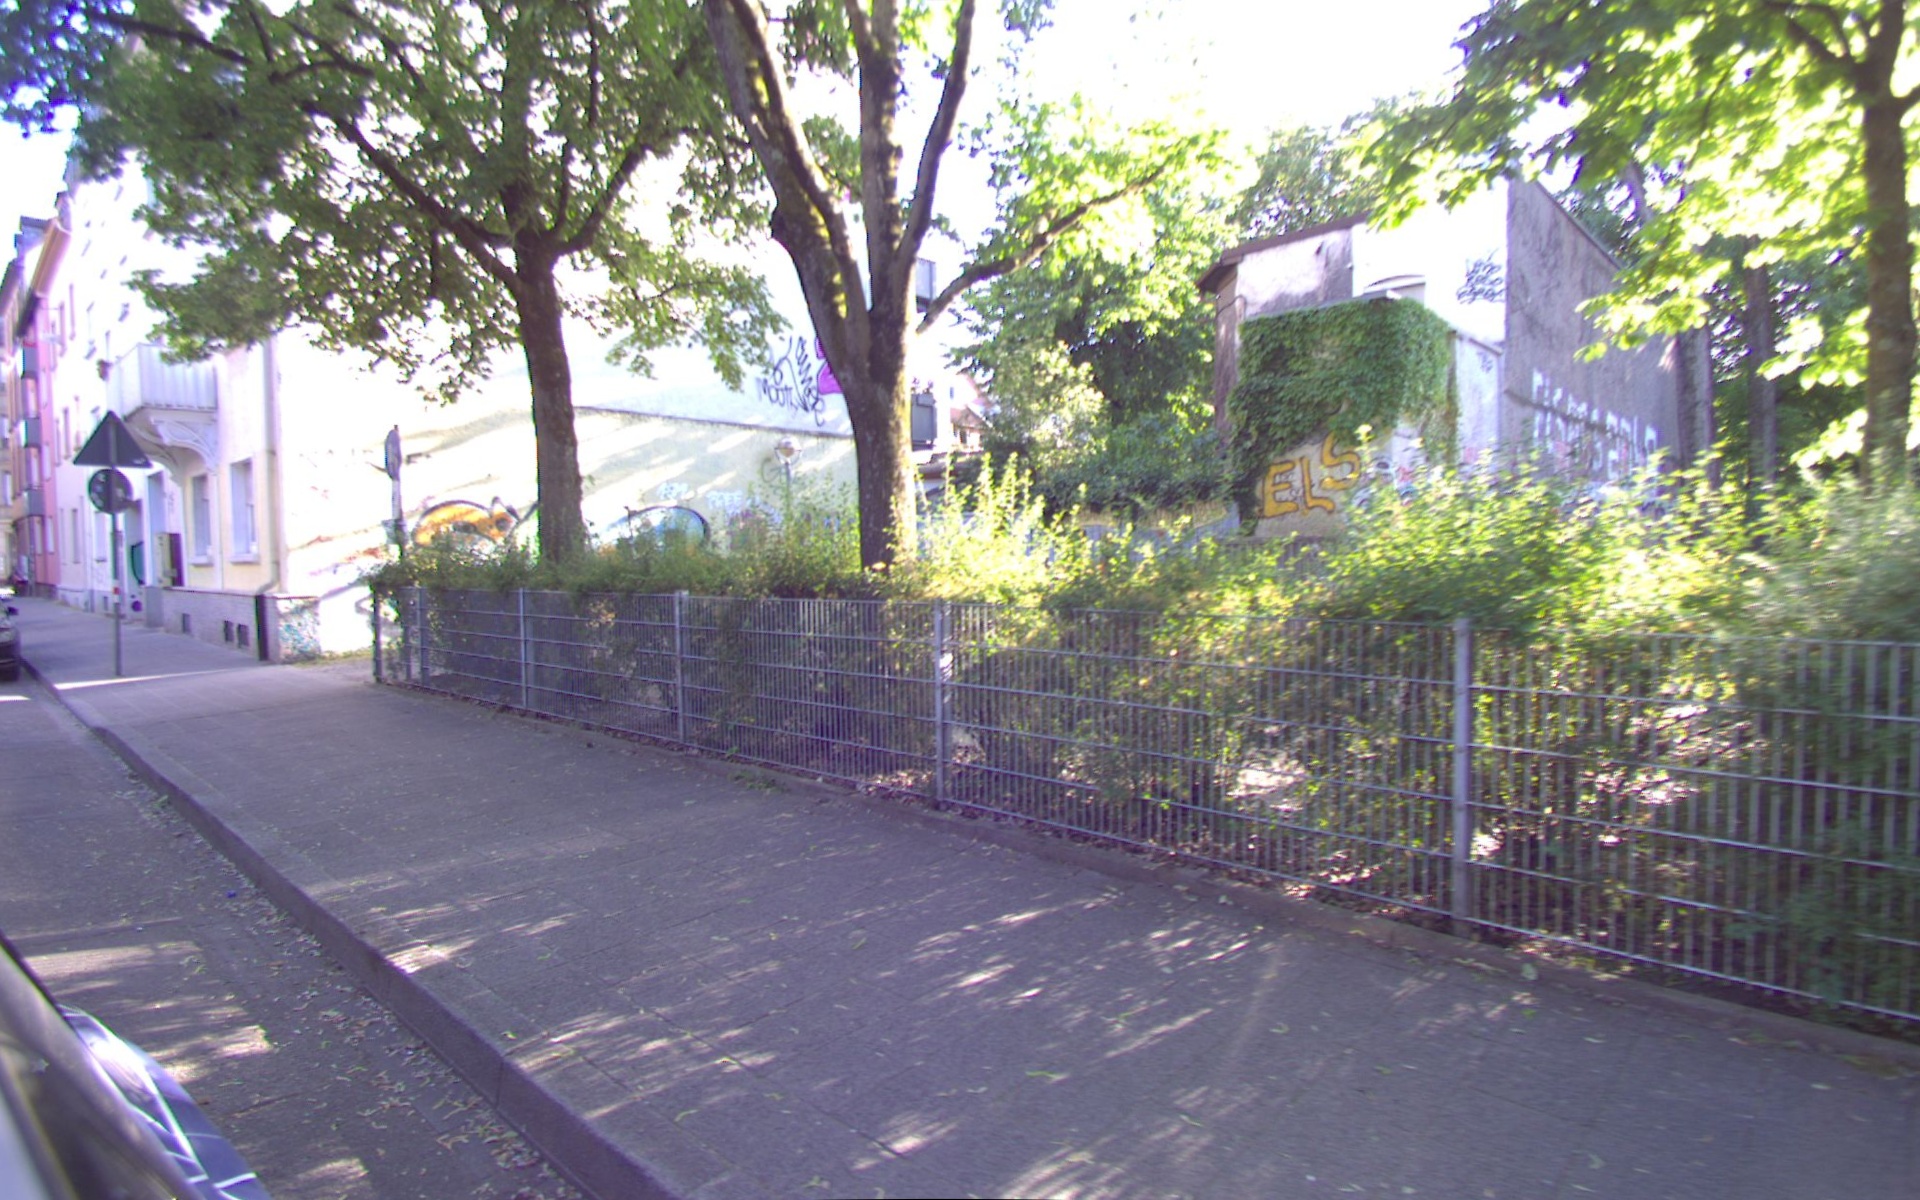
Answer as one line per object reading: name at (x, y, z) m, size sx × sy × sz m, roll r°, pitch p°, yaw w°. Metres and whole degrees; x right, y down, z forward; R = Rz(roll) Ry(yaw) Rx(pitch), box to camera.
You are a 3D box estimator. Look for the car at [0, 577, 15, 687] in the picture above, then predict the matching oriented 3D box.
car at (-14.918, 0.379, 14.487) m, size 4.393 × 1.454 × 1.759 m, roll 2°, pitch 1°, yaw 44°
